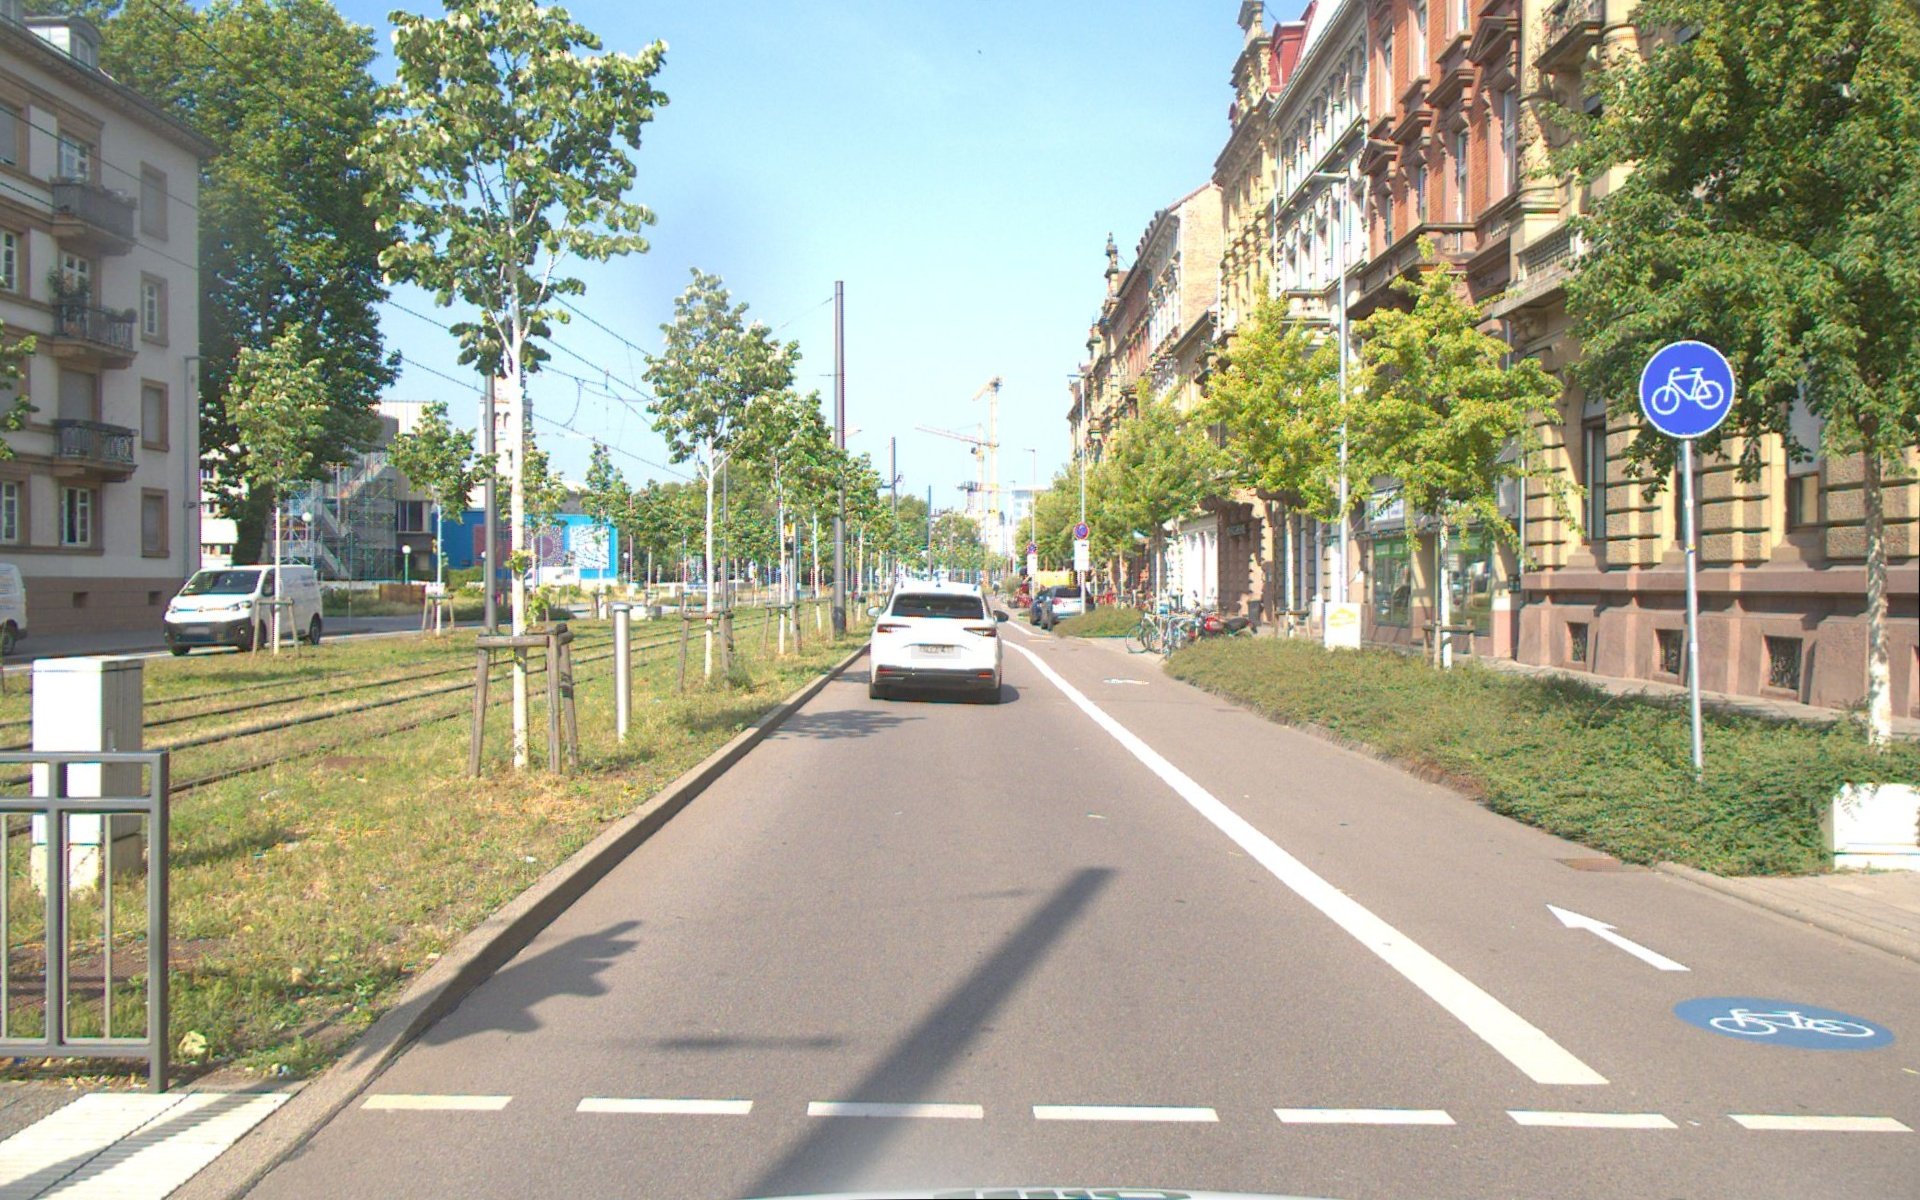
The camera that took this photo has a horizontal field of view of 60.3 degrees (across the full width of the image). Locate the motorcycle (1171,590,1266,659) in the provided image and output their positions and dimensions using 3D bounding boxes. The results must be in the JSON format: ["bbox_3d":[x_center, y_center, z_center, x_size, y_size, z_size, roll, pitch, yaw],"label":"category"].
[{"bbox_3d":[5.321,0.476,33.967,2.018,1.309,0.696,-3,2,-36],"label":"motorcycle"}]

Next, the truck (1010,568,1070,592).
[{"bbox_3d":[7.822,-1.944,161.250,5.746,2.358,2.222,0,1,6],"label":"truck"}]

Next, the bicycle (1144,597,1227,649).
[{"bbox_3d":[5.183,0.518,38.099,1.772,1.115,0.671,-2,1,-6],"label":"bicycle"}]

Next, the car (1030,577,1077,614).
[{"bbox_3d":[3.843,-0.212,68.454,1.701,1.420,4.715,-1,1,1],"label":"car"}]

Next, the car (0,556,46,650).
[{"bbox_3d":[-21.013,0.058,33.626,1.953,1.951,5.153,2,1,0],"label":"car"}]

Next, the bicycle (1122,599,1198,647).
[{"bbox_3d":[4.748,0.540,39.305,1.749,1.072,0.372,-2,1,-2],"label":"bicycle"}]

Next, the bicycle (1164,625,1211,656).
[{"bbox_3d":[4.874,0.867,35.400,0.938,0.620,0.360,-2,0,1],"label":"bicycle"}]

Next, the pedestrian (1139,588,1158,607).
[{"bbox_3d":[9.565,-0.132,83.922,0.860,0.892,0.710,-2,1,-4],"label":"pedestrian"}]

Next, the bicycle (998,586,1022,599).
[{"bbox_3d":[4.087,-0.631,134.352,1.894,1.003,0.471,-2,0,1],"label":"bicycle"}]

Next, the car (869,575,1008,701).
[{"bbox_3d":[-0.294,0.470,23.677,1.780,1.617,4.406,1,1,0],"label":"car"}]

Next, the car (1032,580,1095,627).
[{"bbox_3d":[3.769,0.088,60.796,1.734,1.616,4.245,-1,1,-4],"label":"car"}]

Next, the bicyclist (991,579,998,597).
[{"bbox_3d":[3.693,-1.290,177.423,0.694,1.929,0.843,0,1,1],"label":"bicyclist"}]

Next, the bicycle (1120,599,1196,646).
[{"bbox_3d":[4.747,0.538,39.704,1.749,1.072,0.372,-2,1,-2],"label":"bicycle"}]

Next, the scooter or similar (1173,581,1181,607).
[{"bbox_3d":[9.760,-0.263,74.392,0.282,1.154,1.089,0,1,5],"label":"scooter or similar"}]

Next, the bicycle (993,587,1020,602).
[{"bbox_3d":[3.752,-0.466,133.209,2.193,1.123,0.588,-2,0,1],"label":"bicycle"}]

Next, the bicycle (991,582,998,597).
[{"bbox_3d":[3.688,-1.153,177.585,0.765,1.522,2.801,0,1,1],"label":"bicycle"}]

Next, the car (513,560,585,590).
[{"bbox_3d":[-41.786,-2.545,167.973,6.777,2.684,2.498,2,0,-22],"label":"car"}]

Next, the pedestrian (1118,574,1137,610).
[{"bbox_3d":[8.369,-0.400,82.643,0.807,1.726,0.792,-2,1,-5],"label":"pedestrian"}]

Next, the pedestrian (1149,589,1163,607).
[{"bbox_3d":[9.728,-0.115,82.229,0.559,0.869,0.457,-2,1,-6],"label":"pedestrian"}]

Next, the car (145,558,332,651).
[{"bbox_3d":[-15.986,0.061,36.972,1.953,1.928,5.046,0,1,0],"label":"car"}]

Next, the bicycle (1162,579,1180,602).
[{"bbox_3d":[10.059,-0.446,78.888,0.442,1.102,1.445,0,1,-10],"label":"bicycle"}]
